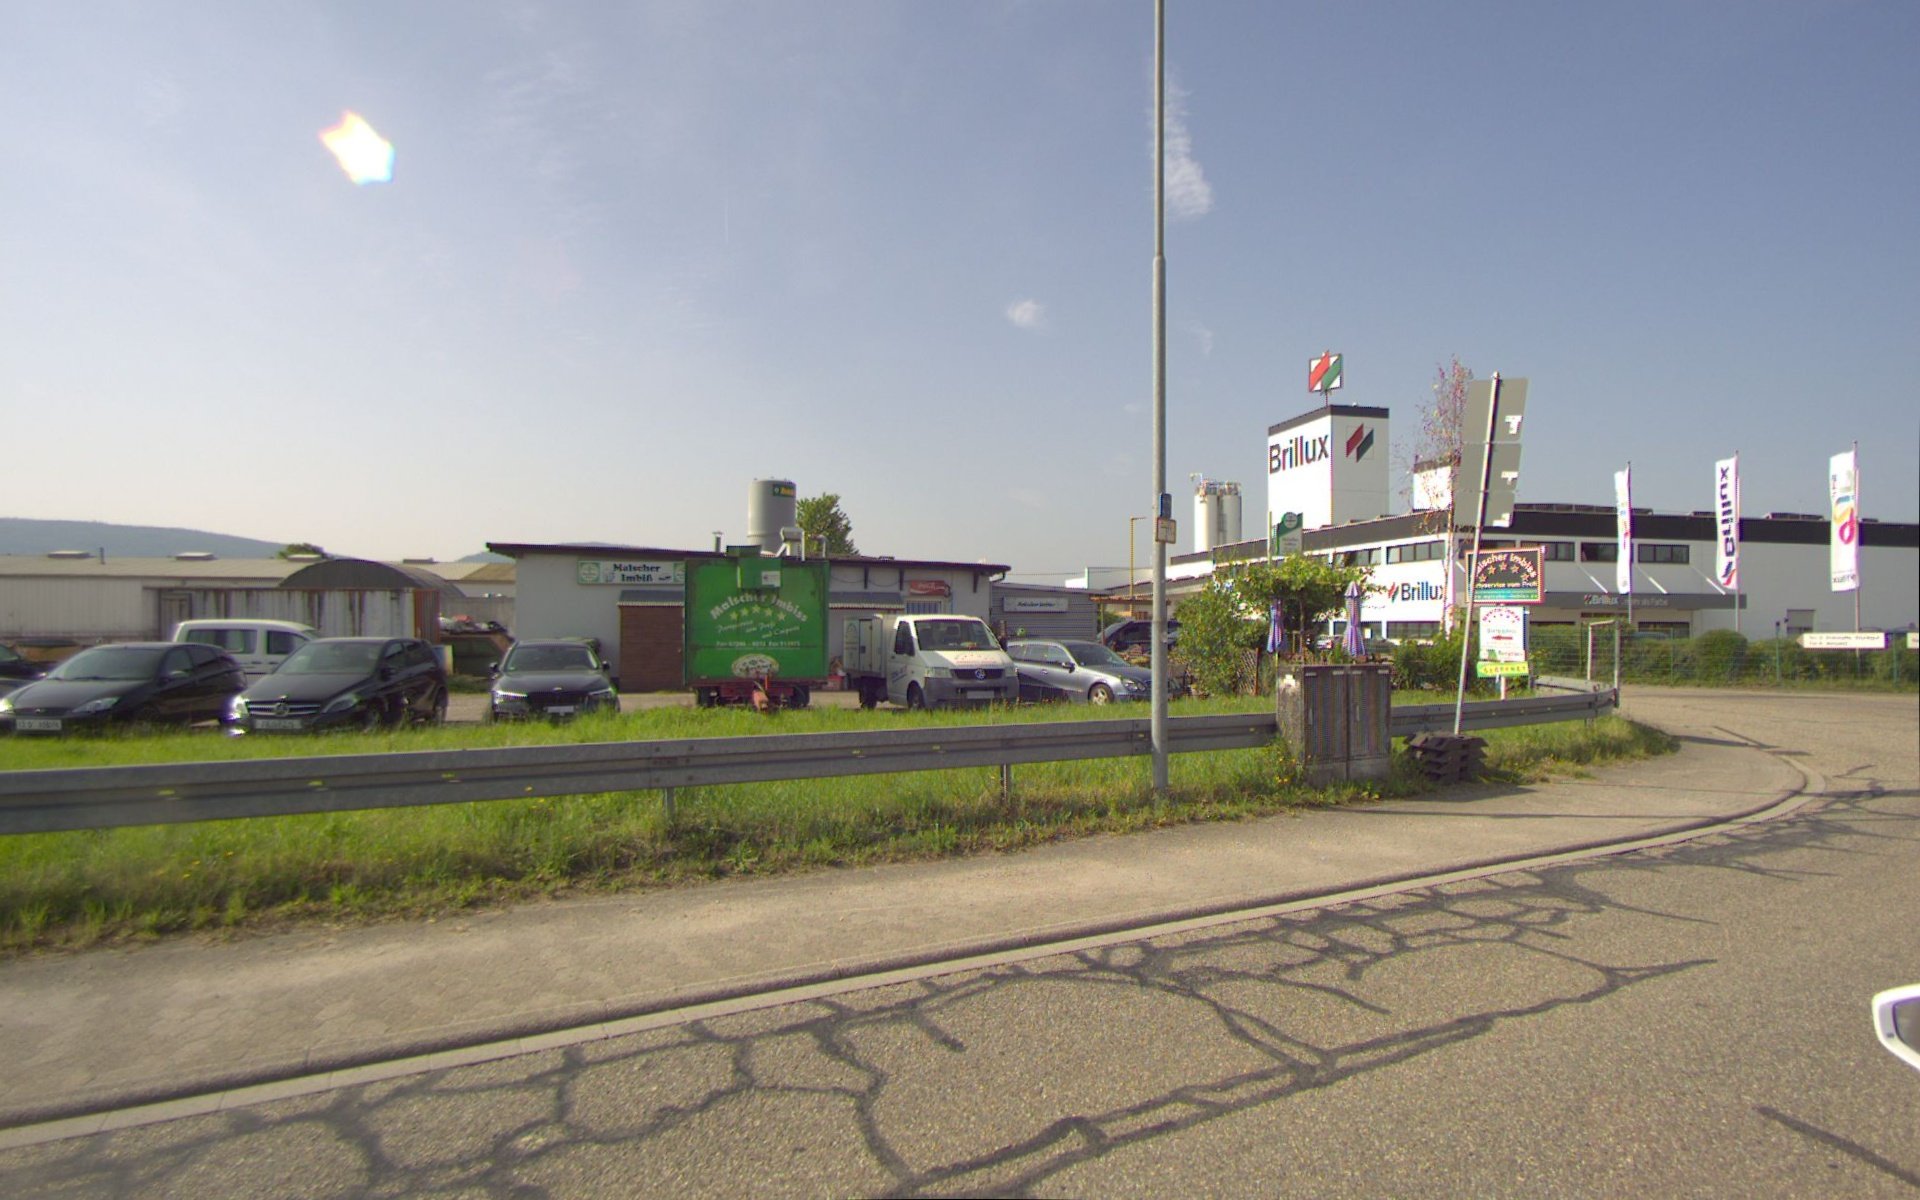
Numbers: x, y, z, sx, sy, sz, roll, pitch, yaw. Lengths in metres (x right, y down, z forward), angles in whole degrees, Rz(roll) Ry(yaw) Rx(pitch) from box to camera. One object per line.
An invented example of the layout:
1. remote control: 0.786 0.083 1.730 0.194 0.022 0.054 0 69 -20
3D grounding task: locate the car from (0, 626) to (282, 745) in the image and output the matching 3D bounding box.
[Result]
1. car: -13.070 1.262 15.859 1.989 1.554 5.135 -1 -2 -10

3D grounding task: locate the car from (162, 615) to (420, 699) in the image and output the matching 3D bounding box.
1. car: -15.171 1.294 23.065 4.450 1.699 1.995 2 0 -13

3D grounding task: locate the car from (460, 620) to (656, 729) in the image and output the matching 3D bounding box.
1. car: -6.728 1.218 17.471 2.139 1.554 5.135 -1 -2 -10

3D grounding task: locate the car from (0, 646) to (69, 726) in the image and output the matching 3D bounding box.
1. car: -15.465 1.295 14.422 1.798 1.235 4.689 -1 -2 -10

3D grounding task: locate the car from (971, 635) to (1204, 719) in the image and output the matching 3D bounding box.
1. car: 2.485 1.490 20.711 1.946 1.530 4.785 2 -3 -39

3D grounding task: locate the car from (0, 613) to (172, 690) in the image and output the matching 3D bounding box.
1. car: -24.746 1.454 28.621 1.965 2.040 3.992 0 -3 -12

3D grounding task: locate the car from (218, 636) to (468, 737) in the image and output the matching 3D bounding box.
1. car: -9.684 1.296 16.296 1.747 1.335 4.959 -1 -2 -10

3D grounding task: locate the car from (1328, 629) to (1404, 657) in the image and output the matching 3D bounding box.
1. car: 26.076 2.783 64.463 5.007 1.724 1.983 2 -3 -33

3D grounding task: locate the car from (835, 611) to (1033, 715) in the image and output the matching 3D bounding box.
1. car: -0.702 1.173 19.537 1.973 1.728 5.248 1 -3 -25

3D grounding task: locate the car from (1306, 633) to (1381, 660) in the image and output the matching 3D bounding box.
1. car: 25.802 3.128 67.541 5.002 1.724 1.984 2 -3 -30

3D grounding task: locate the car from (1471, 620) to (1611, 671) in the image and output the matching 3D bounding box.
1. car: 21.582 1.666 37.560 2.112 1.775 4.660 1 -2 -8

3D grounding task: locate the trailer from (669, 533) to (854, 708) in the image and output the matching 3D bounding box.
1. trailer: -3.849 0.470 18.614 2.807 2.638 6.310 1 -3 -15

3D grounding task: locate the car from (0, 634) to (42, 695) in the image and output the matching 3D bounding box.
1. car: -24.274 1.554 24.117 1.734 1.483 3.656 1 -3 -15
